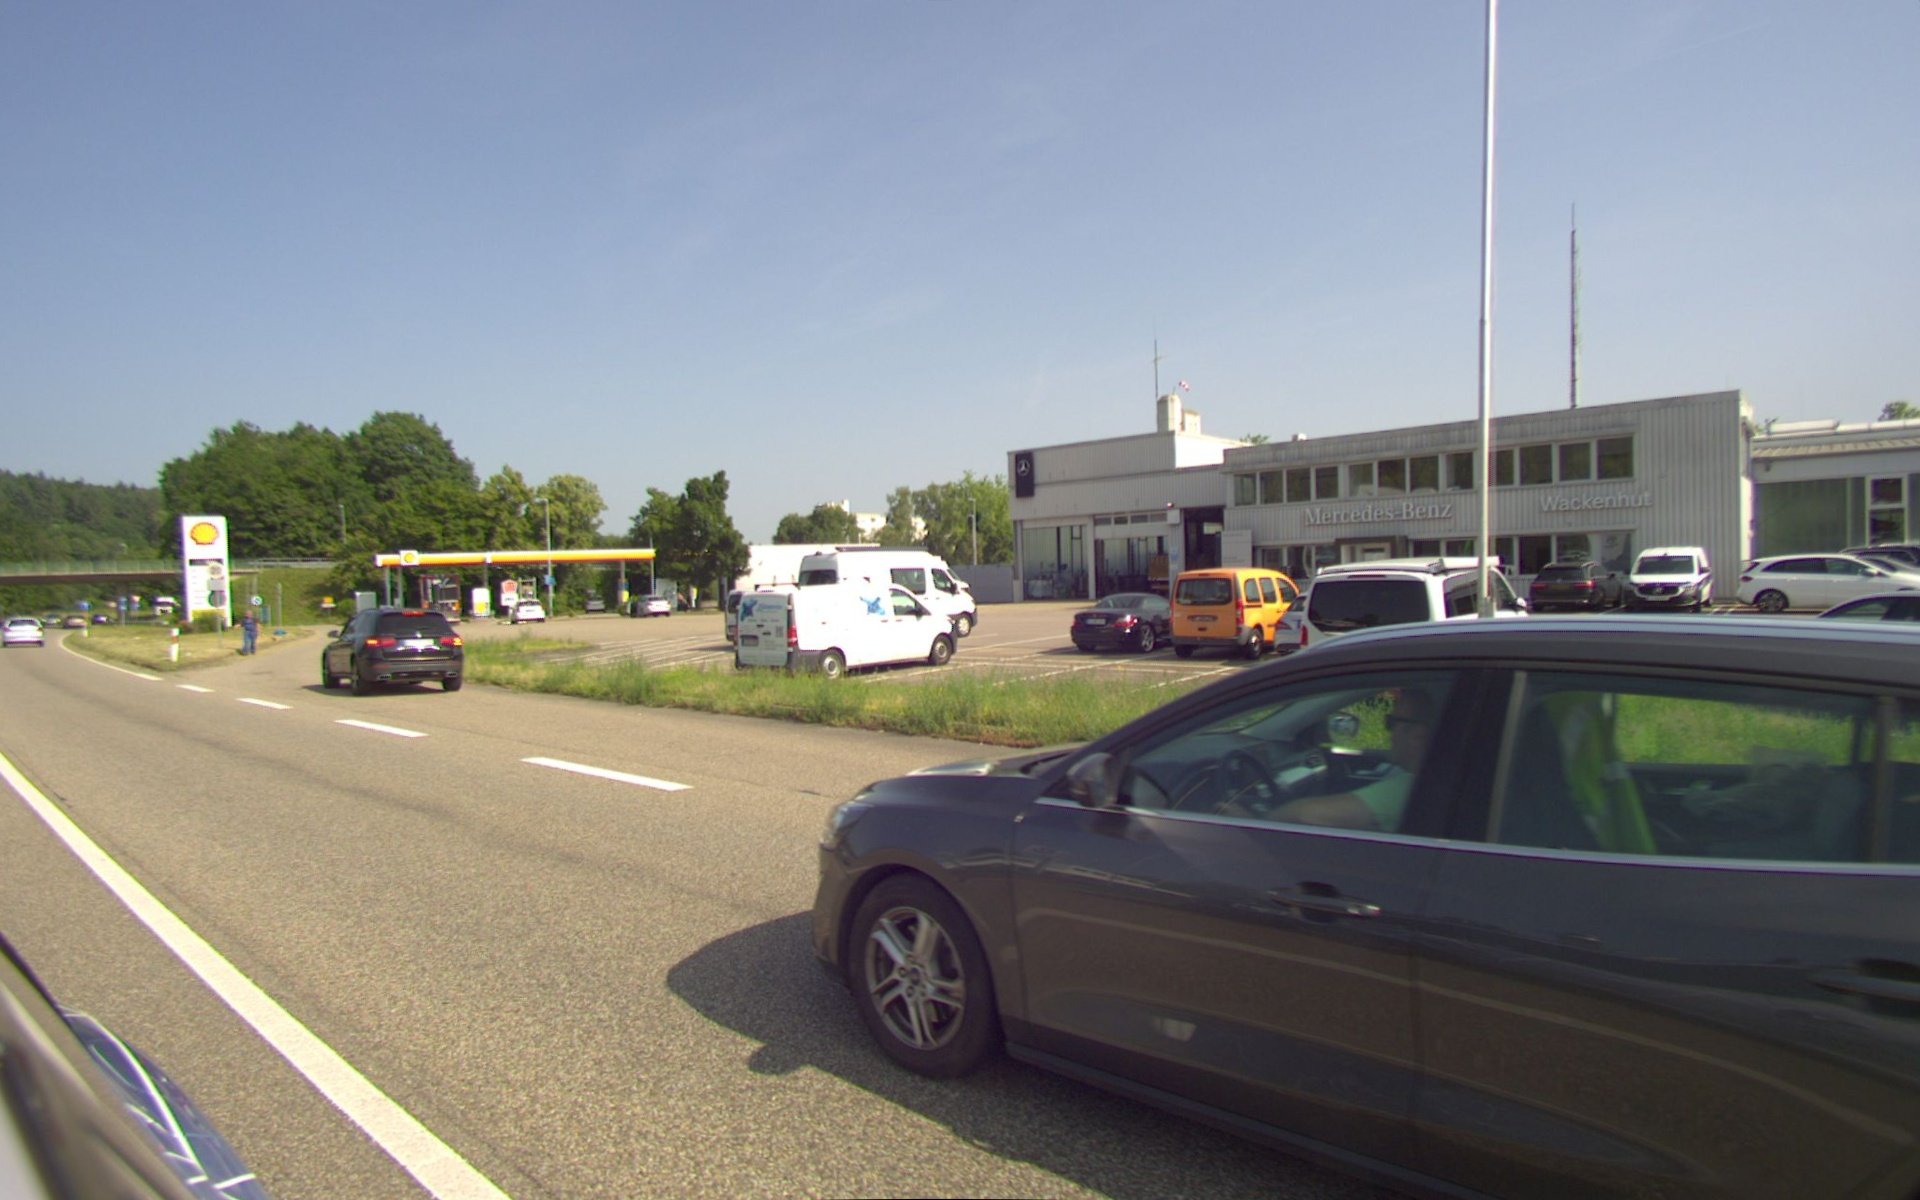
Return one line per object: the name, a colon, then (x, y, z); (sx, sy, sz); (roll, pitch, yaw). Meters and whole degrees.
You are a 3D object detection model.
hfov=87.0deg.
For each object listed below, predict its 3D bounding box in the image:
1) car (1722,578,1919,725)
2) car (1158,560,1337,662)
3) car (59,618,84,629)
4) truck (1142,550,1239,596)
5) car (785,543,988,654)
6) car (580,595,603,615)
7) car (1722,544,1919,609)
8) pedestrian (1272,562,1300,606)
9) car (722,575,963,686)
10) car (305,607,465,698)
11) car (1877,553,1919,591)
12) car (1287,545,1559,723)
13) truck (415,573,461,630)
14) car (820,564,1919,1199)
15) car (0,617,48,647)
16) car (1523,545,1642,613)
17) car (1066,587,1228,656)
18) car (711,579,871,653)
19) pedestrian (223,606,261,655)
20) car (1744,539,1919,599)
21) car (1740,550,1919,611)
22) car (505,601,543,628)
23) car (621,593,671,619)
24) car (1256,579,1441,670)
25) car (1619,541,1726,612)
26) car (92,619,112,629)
car: (10.548, 0.509, 10.655); (1.872, 1.413, 4.230); (-1, 1, 1)
car: (6.234, 0.162, 21.617); (2.000, 1.821, 4.337); (-2, 2, 40)
car: (-92.891, 2.464, 105.773); (1.782, 1.181, 4.103); (0, -1, -44)
truck: (13.039, -1.460, 56.784); (2.450, 2.375, 6.807); (-1, 0, 40)
car: (-1.949, -0.138, 28.659); (2.285, 2.765, 5.660); (-1, 2, 42)
car: (-33.849, 0.449, 93.008); (1.877, 1.654, 4.013); (-2, 1, -20)
car: (24.464, -0.636, 28.344); (4.828, 1.578, 1.786); (-3, 0, 41)
pedestrian: (13.038, -0.639, 40.480); (0.849, 1.702, 0.812); (-1, 0, 39)
car: (-2.278, 0.529, 20.682); (2.142, 1.871, 4.624); (-2, 2, 40)
car: (-11.695, 0.984, 20.445); (1.790, 1.642, 4.545); (0, -1, -44)
car: (41.531, -1.216, 42.639); (2.188, 1.578, 4.558); (-2, 0, 12)
car: (6.655, 0.319, 14.234); (2.227, 1.996, 4.744); (-2, 2, 40)
truck: (-42.361, 0.090, 82.414); (3.010, 4.165, 16.827); (-1, 0, -26)
car: (1.710, 0.697, 2.656); (4.284, 1.486, 1.733); (-1, -1, 41)
car: (-48.077, 1.623, 52.025); (1.657, 1.484, 3.712); (0, -1, -41)
car: (19.194, -0.634, 31.111); (2.211, 1.868, 4.763); (-3, 0, 42)
car: (4.475, 0.449, 23.803); (1.798, 1.328, 4.336); (-2, 1, 40)
car: (-4.947, 0.411, 30.148); (1.986, 1.853, 4.400); (-1, 2, 40)
pedestrian: (-25.701, 1.077, 36.259); (0.835, 1.702, 1.147); (-1, 0, -21)
car: (26.375, -0.905, 30.018); (4.828, 1.578, 1.786); (-3, 0, 41)
car: (23.174, -0.490, 26.254); (4.565, 1.503, 1.786); (0, 1, 41)
car: (-27.500, 0.912, 63.764); (1.691, 1.578, 4.672); (-2, 0, -30)
car: (-20.648, 0.416, 66.411); (1.692, 1.578, 4.669); (-2, 0, -36)
car: (7.561, 0.395, 19.444); (1.965, 1.409, 4.420); (-1, 2, 40)
car: (20.992, -0.677, 29.741); (1.952, 1.868, 4.763); (-3, 0, 42)
car: (-111.433, 3.101, 131.488); (1.655, 1.366, 3.931); (0, -1, -36)
